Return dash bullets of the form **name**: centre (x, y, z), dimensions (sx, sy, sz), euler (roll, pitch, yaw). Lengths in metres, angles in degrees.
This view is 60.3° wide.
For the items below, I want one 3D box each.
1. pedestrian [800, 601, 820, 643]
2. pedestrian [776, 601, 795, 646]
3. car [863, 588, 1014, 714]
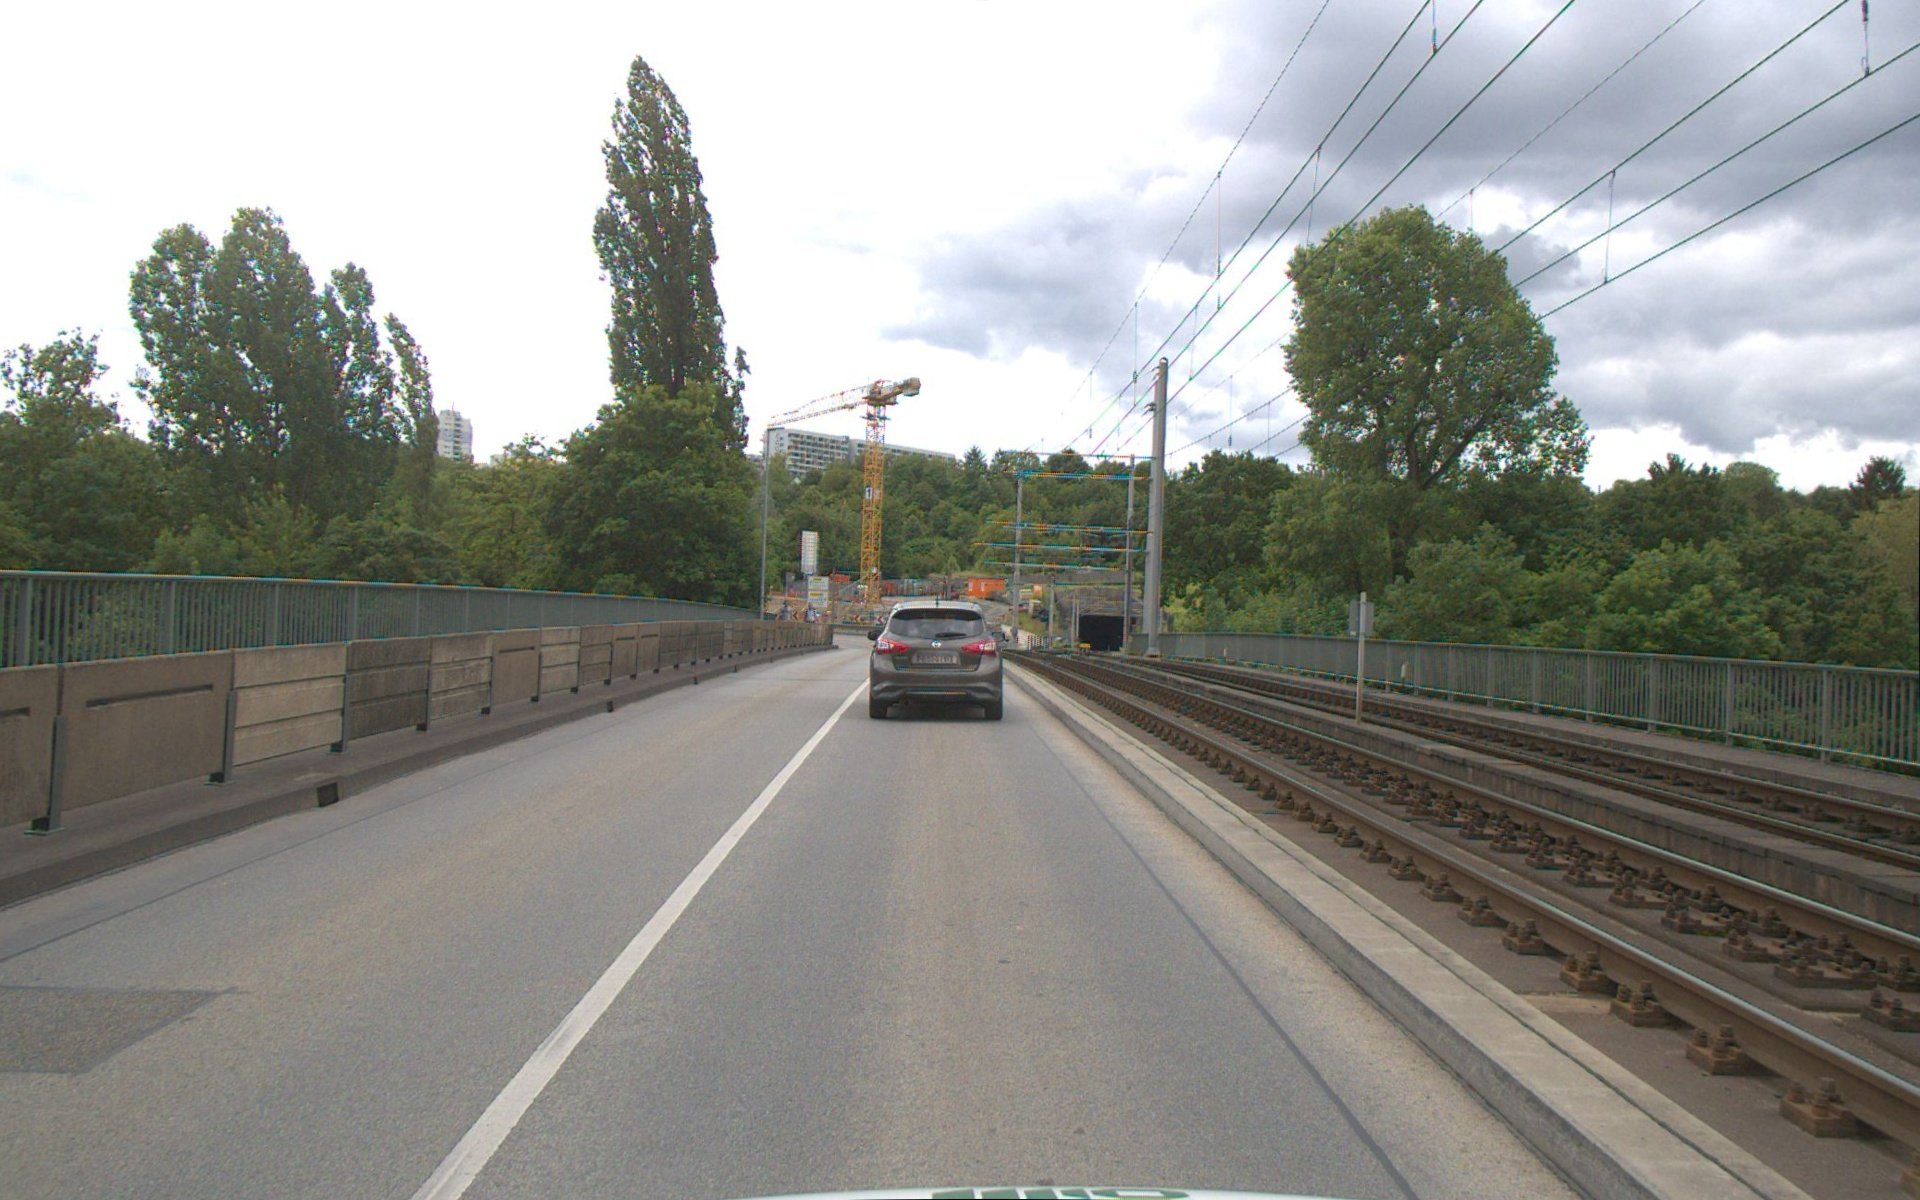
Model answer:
- **pedestrian**: centre (-6.262, 0.907, 69.089), dimensions (0.706, 1.731, 0.723), euler (2, -1, -1)
- **pedestrian**: centre (-7.375, 1.005, 69.946), dimensions (0.706, 1.872, 0.723), euler (2, -1, -1)
- **car**: centre (-0.385, 0.675, 22.679), dimensions (1.794, 1.536, 3.996), euler (1, -1, -4)
